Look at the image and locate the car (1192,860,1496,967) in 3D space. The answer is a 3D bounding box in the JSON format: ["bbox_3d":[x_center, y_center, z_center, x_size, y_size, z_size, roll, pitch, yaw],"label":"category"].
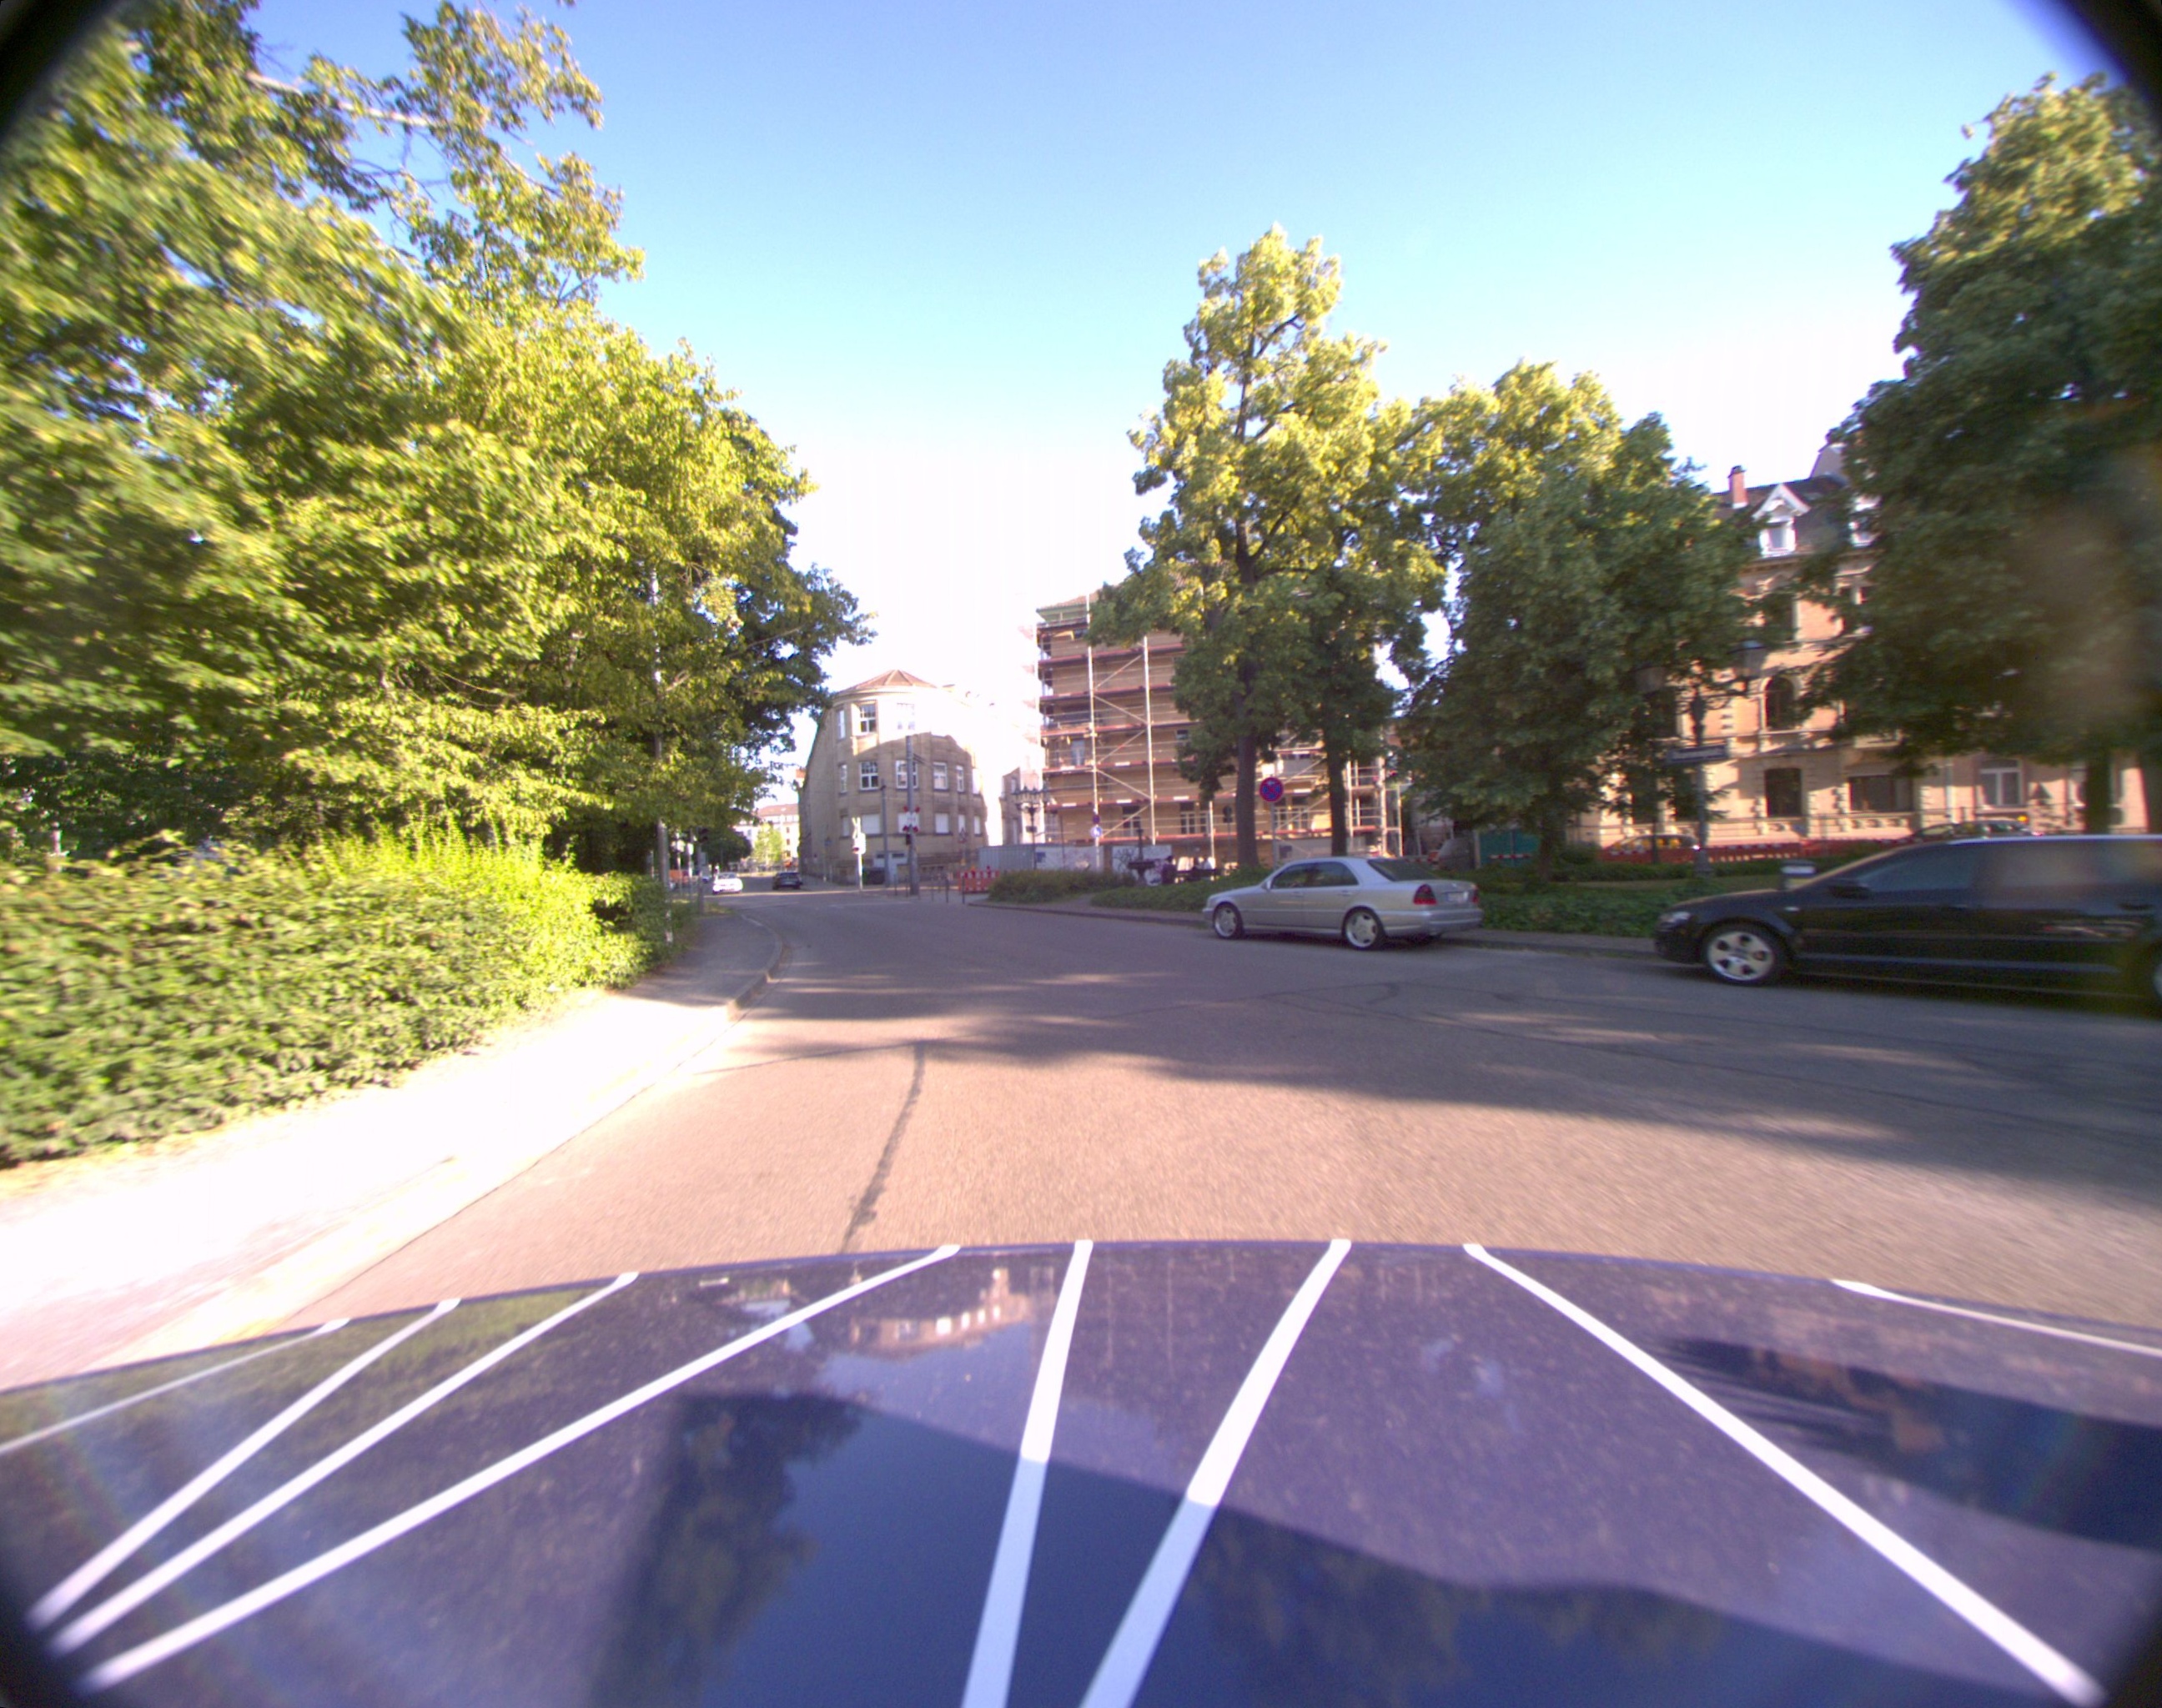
[{"bbox_3d":[4.021,0.850,12.399,1.788,1.407,4.487,0,-1,-34],"label":"car"}]

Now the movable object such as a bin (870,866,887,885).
[{"bbox_3d":[-15.661,1.659,58.801,1.187,1.420,1.919,-2,0,-15],"label":"movable object such as a bin"}]

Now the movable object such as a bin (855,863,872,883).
[{"bbox_3d":[-17.036,1.456,59.515,1.150,1.477,1.625,-2,0,-15],"label":"movable object such as a bin"}]

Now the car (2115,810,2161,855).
[{"bbox_3d":[41.953,-0.877,27.986,4.212,1.646,2.002,-2,0,16],"label":"car"}]

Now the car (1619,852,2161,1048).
[{"bbox_3d":[7.833,0.719,6.875,1.834,1.407,4.483,0,-1,-37],"label":"car"}]

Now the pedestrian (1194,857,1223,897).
[{"bbox_3d":[3.965,0.709,23.676,0.553,1.225,0.723,-2,0,-21],"label":"pedestrian"}]

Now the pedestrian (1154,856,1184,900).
[{"bbox_3d":[2.690,0.735,23.229,0.553,1.290,0.764,-2,0,-21],"label":"pedestrian"}]

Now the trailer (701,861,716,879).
[{"bbox_3d":[-56.942,2.451,116.211,1.604,2.625,3.696,-2,0,-21],"label":"trailer"}]

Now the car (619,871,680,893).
[{"bbox_3d":[-33.136,2.130,58.499,4.006,1.537,1.731,0,-1,-28],"label":"car"}]

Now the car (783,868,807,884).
[{"bbox_3d":[-28.237,2.117,74.836,1.751,1.426,4.552,-3,1,-26],"label":"car"}]

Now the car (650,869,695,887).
[{"bbox_3d":[-44.760,2.570,83.322,3.988,1.852,1.916,-1,0,-19],"label":"car"}]

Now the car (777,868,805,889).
[{"bbox_3d":[-22.461,1.867,58.761,1.751,1.439,4.200,-2,0,-24],"label":"car"}]

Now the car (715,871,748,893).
[{"bbox_3d":[-24.708,1.951,53.834,1.690,1.444,4.096,-2,0,-19],"label":"car"}]

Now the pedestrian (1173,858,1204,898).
[{"bbox_3d":[3.348,0.748,23.654,0.553,1.188,0.882,-2,0,-21],"label":"pedestrian"}]

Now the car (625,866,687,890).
[{"bbox_3d":[-37.978,2.120,68.053,4.818,1.986,2.076,0,-1,-28],"label":"car"}]

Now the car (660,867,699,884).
[{"bbox_3d":[-45.346,2.434,85.842,3.616,1.872,1.780,-1,0,-20],"label":"car"}]

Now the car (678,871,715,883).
[{"bbox_3d":[-53.726,3.183,106.216,4.450,1.458,1.708,-2,0,-21],"label":"car"}]
